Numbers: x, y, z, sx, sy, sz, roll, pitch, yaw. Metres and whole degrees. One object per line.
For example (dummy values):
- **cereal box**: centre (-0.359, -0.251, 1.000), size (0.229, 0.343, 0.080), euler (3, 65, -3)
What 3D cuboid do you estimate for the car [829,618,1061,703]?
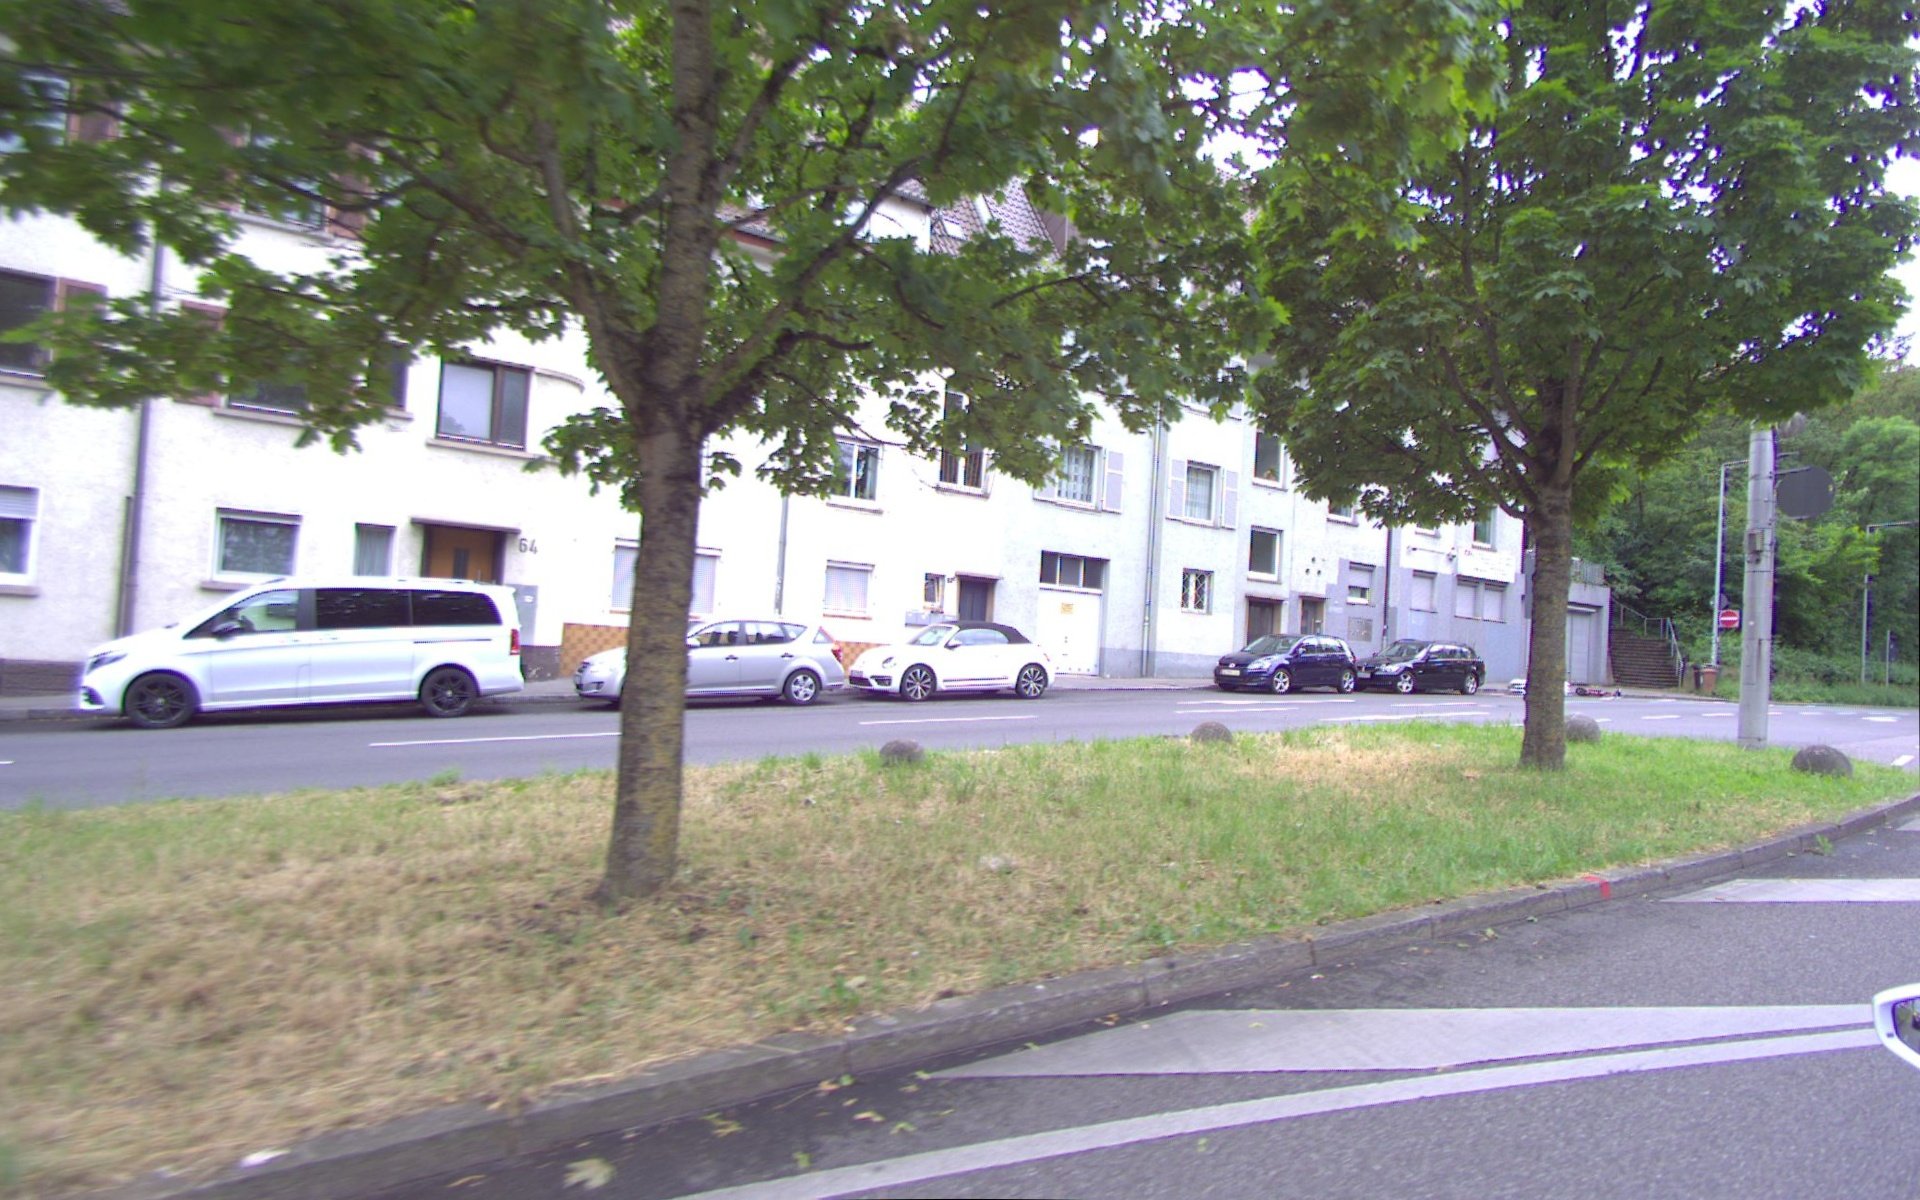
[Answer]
- **car**: centre (-0.261, 1.144, 19.635), size (4.110, 1.494, 1.983), euler (2, -1, -31)

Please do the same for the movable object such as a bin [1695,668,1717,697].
- **movable object such as a bin**: centre (26.482, 2.933, 35.670), size (0.510, 0.980, 0.442), euler (5, 1, 44)

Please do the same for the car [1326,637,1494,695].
- **car**: centre (12.263, 1.779, 27.322), size (4.466, 1.419, 1.983), euler (3, -2, -31)

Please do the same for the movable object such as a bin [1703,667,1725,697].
- **movable object such as a bin**: centre (27.999, 3.055, 37.290), size (0.549, 1.038, 0.428), euler (5, 1, 44)

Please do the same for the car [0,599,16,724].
- **car**: centre (-13.596, 0.711, 11.189), size (4.112, 1.573, 1.983), euler (2, -1, -32)

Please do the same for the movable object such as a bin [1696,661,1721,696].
- **movable object such as a bin**: centre (26.881, 2.812, 36.086), size (0.598, 1.201, 0.489), euler (5, 1, 44)

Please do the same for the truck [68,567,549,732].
- **truck**: centre (-8.786, 0.664, 14.127), size (5.289, 1.945, 1.983), euler (2, -1, -32)

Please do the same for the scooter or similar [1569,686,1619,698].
- **scooter or similar**: centre (19.521, 2.832, 30.923), size (1.112, 0.292, 1.093), euler (-1, -4, 44)

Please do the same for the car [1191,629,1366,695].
- **car**: centre (7.879, 1.503, 24.735), size (4.170, 1.442, 1.981), euler (3, -2, -35)

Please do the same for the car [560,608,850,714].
- **car**: centre (-4.245, 0.978, 16.921), size (4.334, 1.573, 1.983), euler (2, -1, -32)
